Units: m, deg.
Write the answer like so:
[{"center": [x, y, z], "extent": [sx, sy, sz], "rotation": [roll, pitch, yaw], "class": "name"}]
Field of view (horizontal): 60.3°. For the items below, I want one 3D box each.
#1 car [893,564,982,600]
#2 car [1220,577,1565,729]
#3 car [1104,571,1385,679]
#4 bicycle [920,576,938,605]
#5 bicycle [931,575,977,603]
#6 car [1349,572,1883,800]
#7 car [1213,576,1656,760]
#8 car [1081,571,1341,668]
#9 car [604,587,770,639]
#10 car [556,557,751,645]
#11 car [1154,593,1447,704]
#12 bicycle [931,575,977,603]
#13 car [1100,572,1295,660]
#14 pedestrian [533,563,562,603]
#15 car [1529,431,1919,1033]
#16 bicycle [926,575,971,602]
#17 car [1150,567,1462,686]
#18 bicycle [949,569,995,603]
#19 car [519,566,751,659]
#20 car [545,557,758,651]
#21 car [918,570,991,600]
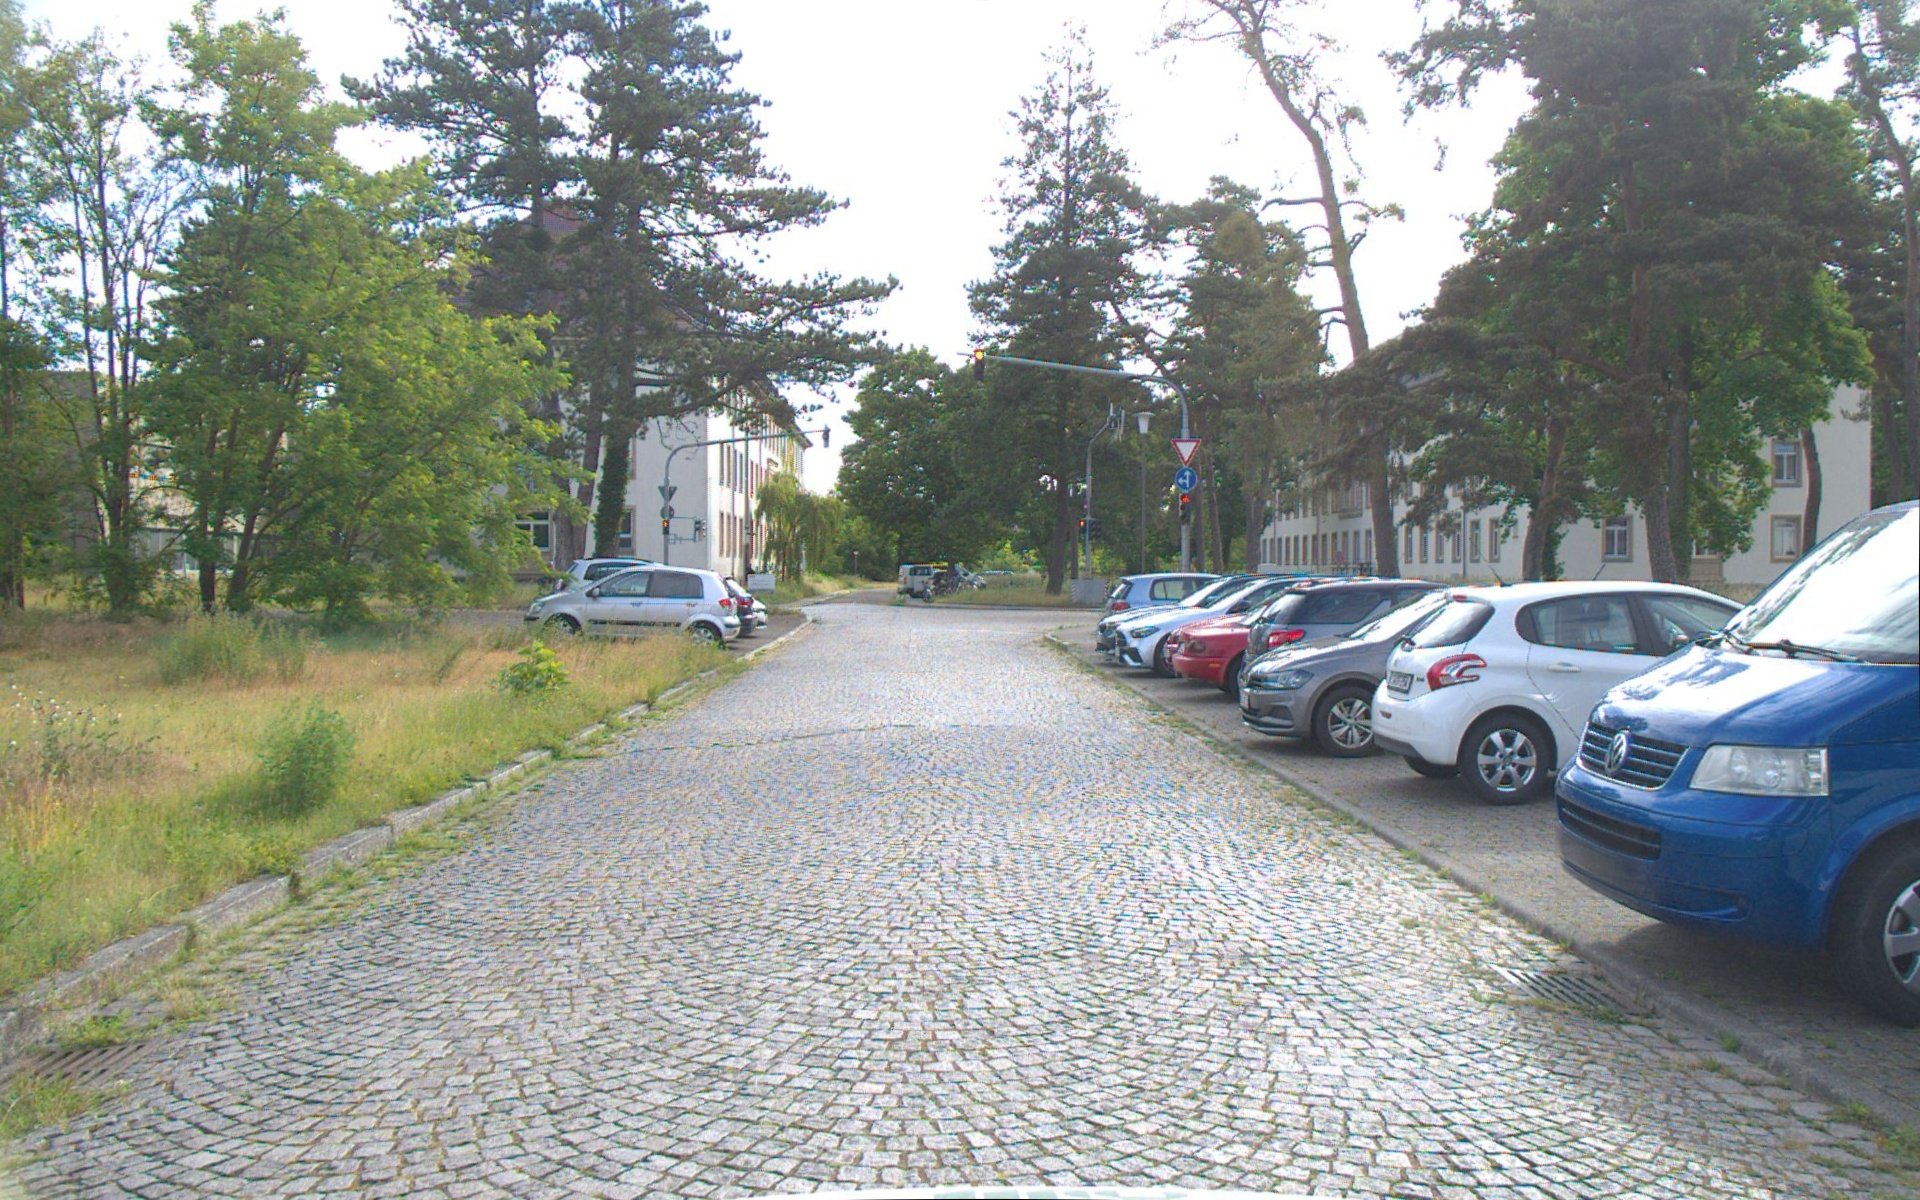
[{"center": [-1.345, -1.041, 97.146], "extent": [4.962, 2.049, 1.994], "rotation": [0, 1, -12], "class": "car"}, {"center": [4.648, 0.520, 17.952], "extent": [3.235, 1.530, 1.659], "rotation": [0, 1, -13], "class": "car"}, {"center": [4.275, 0.351, 25.136], "extent": [3.911, 1.570, 1.661], "rotation": [0, 1, -8], "class": "car"}, {"center": [-1.412, -0.447, 75.558], "extent": [0.793, 1.290, 1.973], "rotation": [0, 1, -1], "class": "bicycle"}, {"center": [-0.308, -0.537, 79.943], "extent": [2.120, 1.290, 0.811], "rotation": [0, 1, -8], "class": "bicycle"}, {"center": [4.672, 0.571, 12.078], "extent": [3.227, 1.531, 1.663], "rotation": [0, 1, -4], "class": "car"}, {"center": [4.265, 0.553, 15.060], "extent": [3.535, 1.533, 1.659], "rotation": [0, 1, -13], "class": "car"}, {"center": [4.200, 0.304, 27.949], "extent": [4.045, 1.570, 1.661], "rotation": [0, 1, -8], "class": "car"}, {"center": [-6.087, 0.279, 37.123], "extent": [3.602, 1.113, 1.644], "rotation": [0, 1, -8], "class": "car"}, {"center": [-6.409, 0.016, 34.888], "extent": [3.913, 1.780, 1.923], "rotation": [0, 1, -9], "class": "car"}, {"center": [4.198, 0.570, 20.653], "extent": [3.230, 1.289, 1.661], "rotation": [0, 1, -8], "class": "car"}, {"center": [-0.288, -0.534, 79.356], "extent": [2.120, 1.290, 0.811], "rotation": [0, 1, -8], "class": "bicycle"}, {"center": [4.351, 0.280, 30.524], "extent": [3.325, 1.570, 1.389], "rotation": [0, 1, -8], "class": "car"}, {"center": [-15.799, -0.661, 63.434], "extent": [0.880, 1.524, 0.904], "rotation": [0, 1, -1], "class": "pedestrian"}, {"center": [4.948, 0.450, 6.710], "extent": [4.687, 2.075, 1.737], "rotation": [0, 1, -3], "class": "car"}, {"center": [-0.575, -0.549, 81.148], "extent": [2.120, 1.290, 0.811], "rotation": [0, 1, -8], "class": "bicycle"}, {"center": [4.746, 0.348, 22.917], "extent": [3.911, 1.570, 1.661], "rotation": [0, 1, -8], "class": "car"}, {"center": [0.585, -0.695, 80.682], "extent": [2.120, 1.644, 0.811], "rotation": [0, 1, -8], "class": "bicycle"}, {"center": [-5.685, 0.186, 29.374], "extent": [3.912, 1.579, 1.997], "rotation": [0, 1, -8], "class": "car"}, {"center": [-5.870, 0.060, 31.859], "extent": [3.912, 1.735, 1.997], "rotation": [0, 1, -8], "class": "car"}, {"center": [-0.308, -0.865, 93.904], "extent": [3.912, 1.673, 1.997], "rotation": [0, 1, -8], "class": "car"}]
